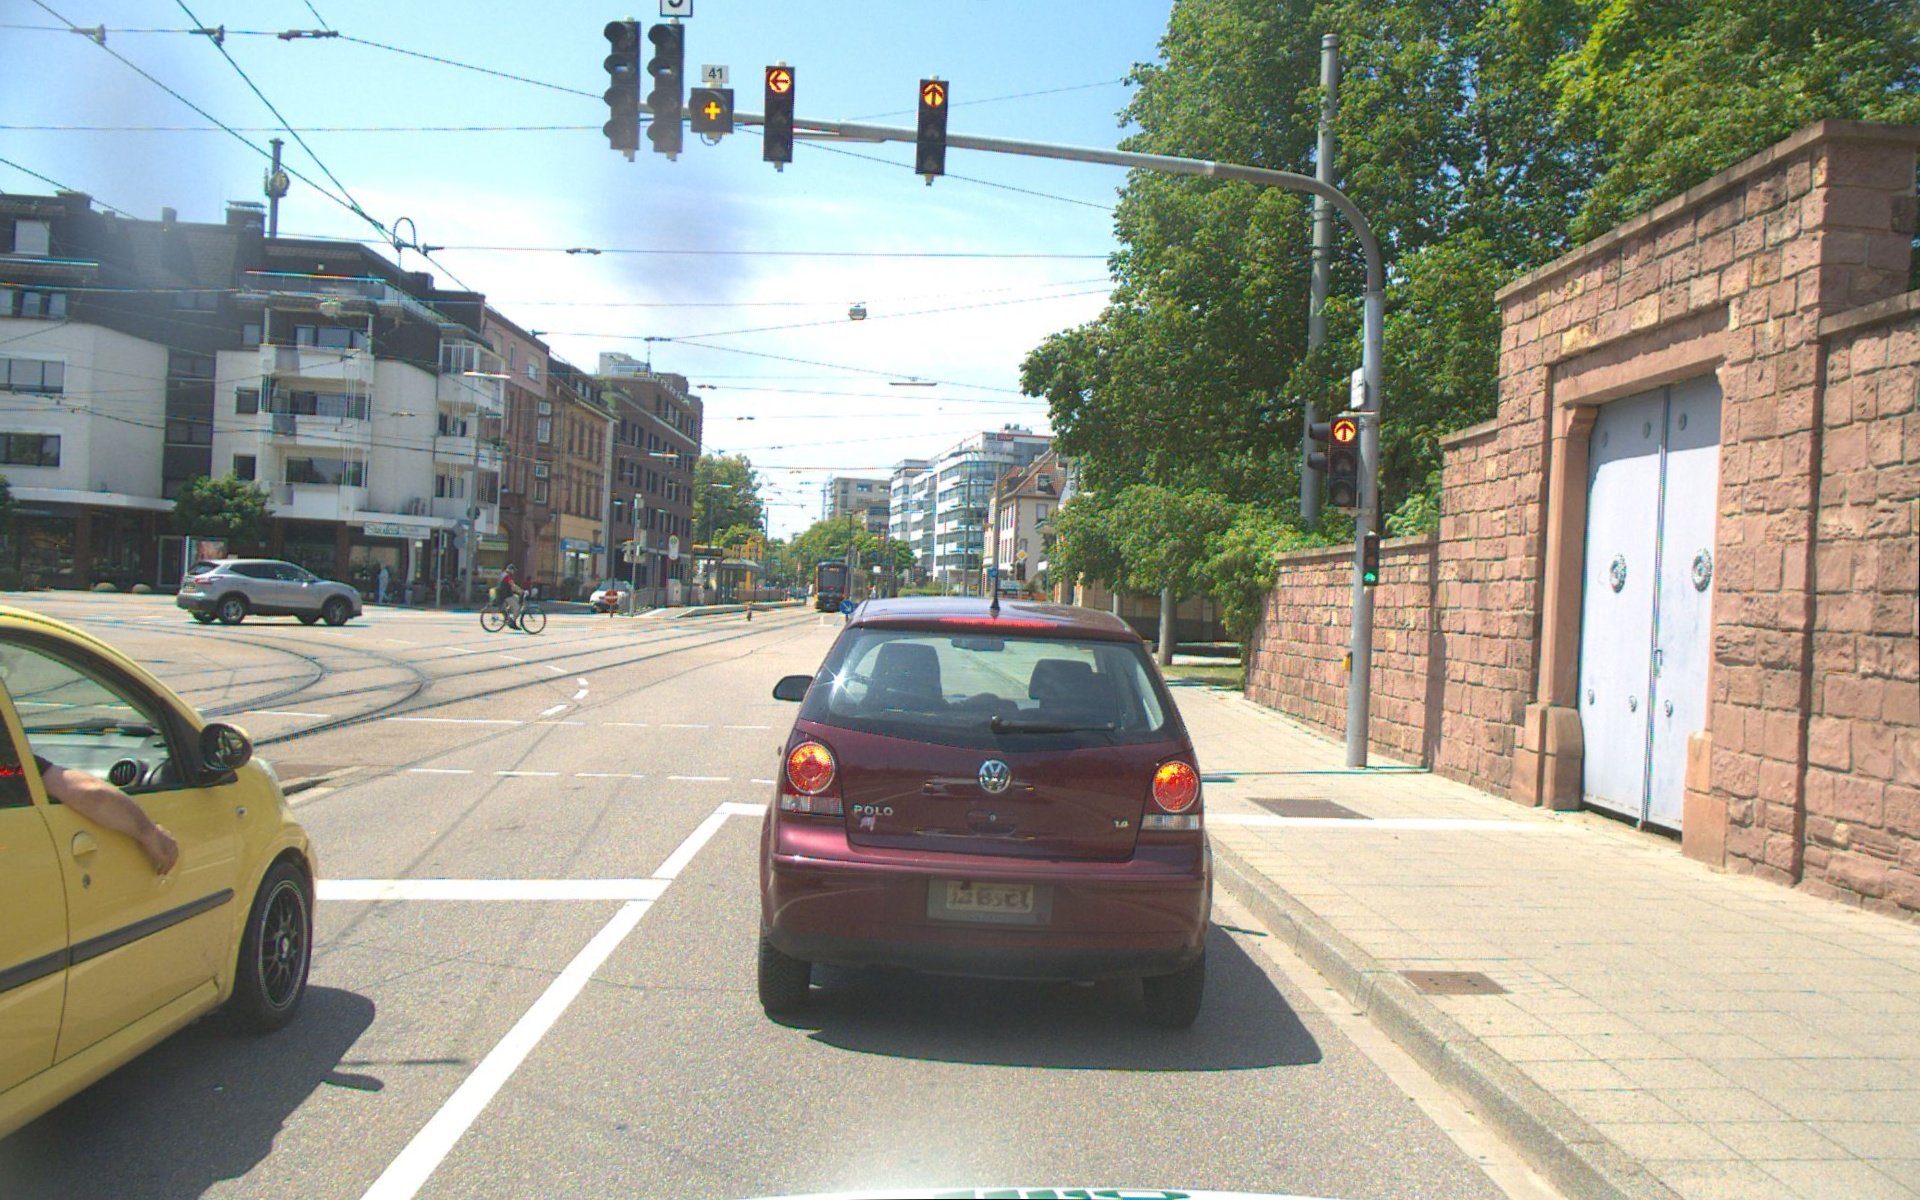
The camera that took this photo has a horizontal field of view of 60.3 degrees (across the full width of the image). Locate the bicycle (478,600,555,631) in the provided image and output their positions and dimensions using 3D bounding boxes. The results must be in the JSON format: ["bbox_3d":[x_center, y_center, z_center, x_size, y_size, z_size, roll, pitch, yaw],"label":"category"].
[{"bbox_3d":[-11.813,0.428,44.066,1.969,0.797,0.459,2,-1,-41],"label":"bicycle"}]

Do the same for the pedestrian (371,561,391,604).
[{"bbox_3d":[-24.210,-0.740,69.210,0.497,1.785,0.606,0,-1,45],"label":"pedestrian"}]

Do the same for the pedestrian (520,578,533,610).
[{"bbox_3d":[-21.499,-0.285,82.033,0.473,1.568,0.538,1,-1,3],"label":"pedestrian"}]

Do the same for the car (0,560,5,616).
[{"bbox_3d":[-23.860,-0.322,36.411,4.707,1.258,1.924,1,-1,-25],"label":"car"}]

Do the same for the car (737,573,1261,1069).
[{"bbox_3d":[0.055,0.685,7.195,1.578,1.489,4.084,2,0,-2],"label":"car"}]

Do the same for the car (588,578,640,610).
[{"bbox_3d":[-17.105,-0.300,81.995,1.654,1.488,4.000,2,0,0],"label":"car"}]

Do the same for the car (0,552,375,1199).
[{"bbox_3d":[-2.901,0.617,4.243,1.688,1.470,3.292,0,1,-2],"label":"car"}]

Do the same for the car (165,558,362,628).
[{"bbox_3d":[-17.344,-0.149,41.307,1.906,1.612,4.125,0,-1,43],"label":"car"}]

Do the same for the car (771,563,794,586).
[{"bbox_3d":[-16.411,-2.378,153.164,1.700,2.049,3.999,2,0,-1],"label":"car"}]

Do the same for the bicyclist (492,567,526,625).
[{"bbox_3d":[-11.982,-0.106,43.946,0.745,1.527,0.475,2,-1,-40],"label":"bicyclist"}]

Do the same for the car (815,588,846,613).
[{"bbox_3d":[-9.034,0.070,115.800,1.899,1.670,3.998,1,-1,-2],"label":"car"}]
